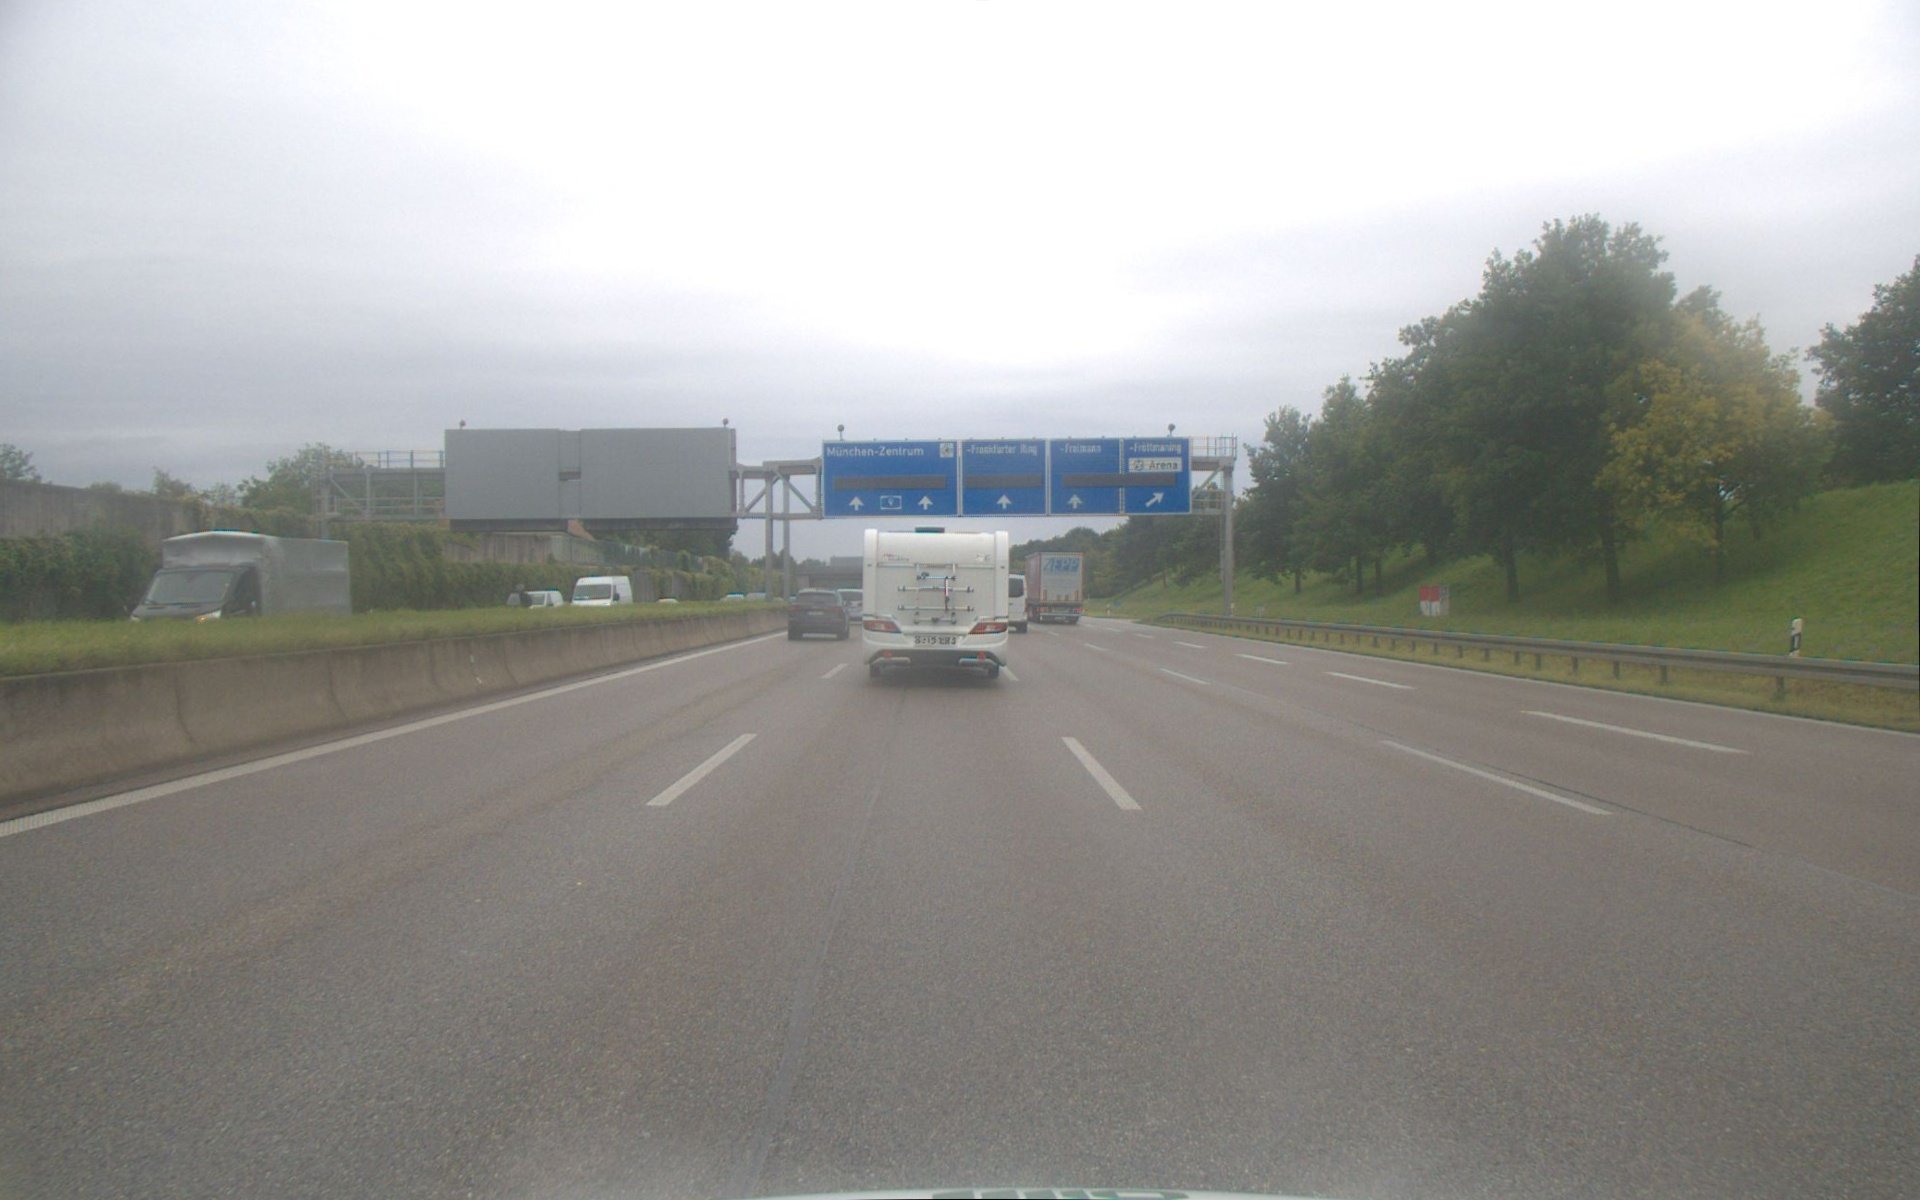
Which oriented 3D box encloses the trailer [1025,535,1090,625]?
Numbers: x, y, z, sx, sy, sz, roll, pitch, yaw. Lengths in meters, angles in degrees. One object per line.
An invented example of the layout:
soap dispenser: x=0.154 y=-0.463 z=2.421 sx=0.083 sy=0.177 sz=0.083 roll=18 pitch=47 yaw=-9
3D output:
trailer: x=5.694 y=-1.100 z=98.303 sx=3.036 sy=5.008 sz=11.789 roll=1 pitch=0 yaw=0

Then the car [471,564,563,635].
car: x=-13.485 y=-0.012 z=50.554 sx=1.732 sy=2.049 sz=3.999 roll=1 pitch=0 yaw=-1

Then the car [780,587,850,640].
car: x=-4.737 y=0.429 z=54.776 sx=1.953 sy=1.628 sz=5.122 roll=1 pitch=0 yaw=-1

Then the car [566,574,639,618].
car: x=-17.123 y=-0.172 z=79.525 sx=2.083 sy=1.945 sz=6.532 roll=1 pitch=0 yaw=-1

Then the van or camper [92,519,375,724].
van or camper: x=-15.888 y=0.436 z=37.000 sx=2.653 sy=4.017 sz=8.400 roll=1 pitch=0 yaw=-1

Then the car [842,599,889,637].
car: x=-4.630 y=0.876 z=81.535 sx=2.085 sy=1.736 sz=4.111 roll=2 pitch=0 yaw=-2

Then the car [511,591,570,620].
car: x=-20.740 y=0.245 z=81.878 sx=1.841 sy=1.367 sz=4.526 roll=1 pitch=0 yaw=-2

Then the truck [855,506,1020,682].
truck: x=-0.421 y=-0.083 z=29.309 sx=2.607 sy=2.790 sz=5.076 roll=1 pitch=0 yaw=-2

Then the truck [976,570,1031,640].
truck: x=1.817 y=0.227 z=70.767 sx=2.012 sy=2.818 sz=5.547 roll=1 pitch=0 yaw=-1

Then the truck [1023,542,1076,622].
truck: x=5.698 y=-1.104 z=105.998 sx=2.986 sy=4.924 sz=5.850 roll=1 pitch=0 yaw=0
